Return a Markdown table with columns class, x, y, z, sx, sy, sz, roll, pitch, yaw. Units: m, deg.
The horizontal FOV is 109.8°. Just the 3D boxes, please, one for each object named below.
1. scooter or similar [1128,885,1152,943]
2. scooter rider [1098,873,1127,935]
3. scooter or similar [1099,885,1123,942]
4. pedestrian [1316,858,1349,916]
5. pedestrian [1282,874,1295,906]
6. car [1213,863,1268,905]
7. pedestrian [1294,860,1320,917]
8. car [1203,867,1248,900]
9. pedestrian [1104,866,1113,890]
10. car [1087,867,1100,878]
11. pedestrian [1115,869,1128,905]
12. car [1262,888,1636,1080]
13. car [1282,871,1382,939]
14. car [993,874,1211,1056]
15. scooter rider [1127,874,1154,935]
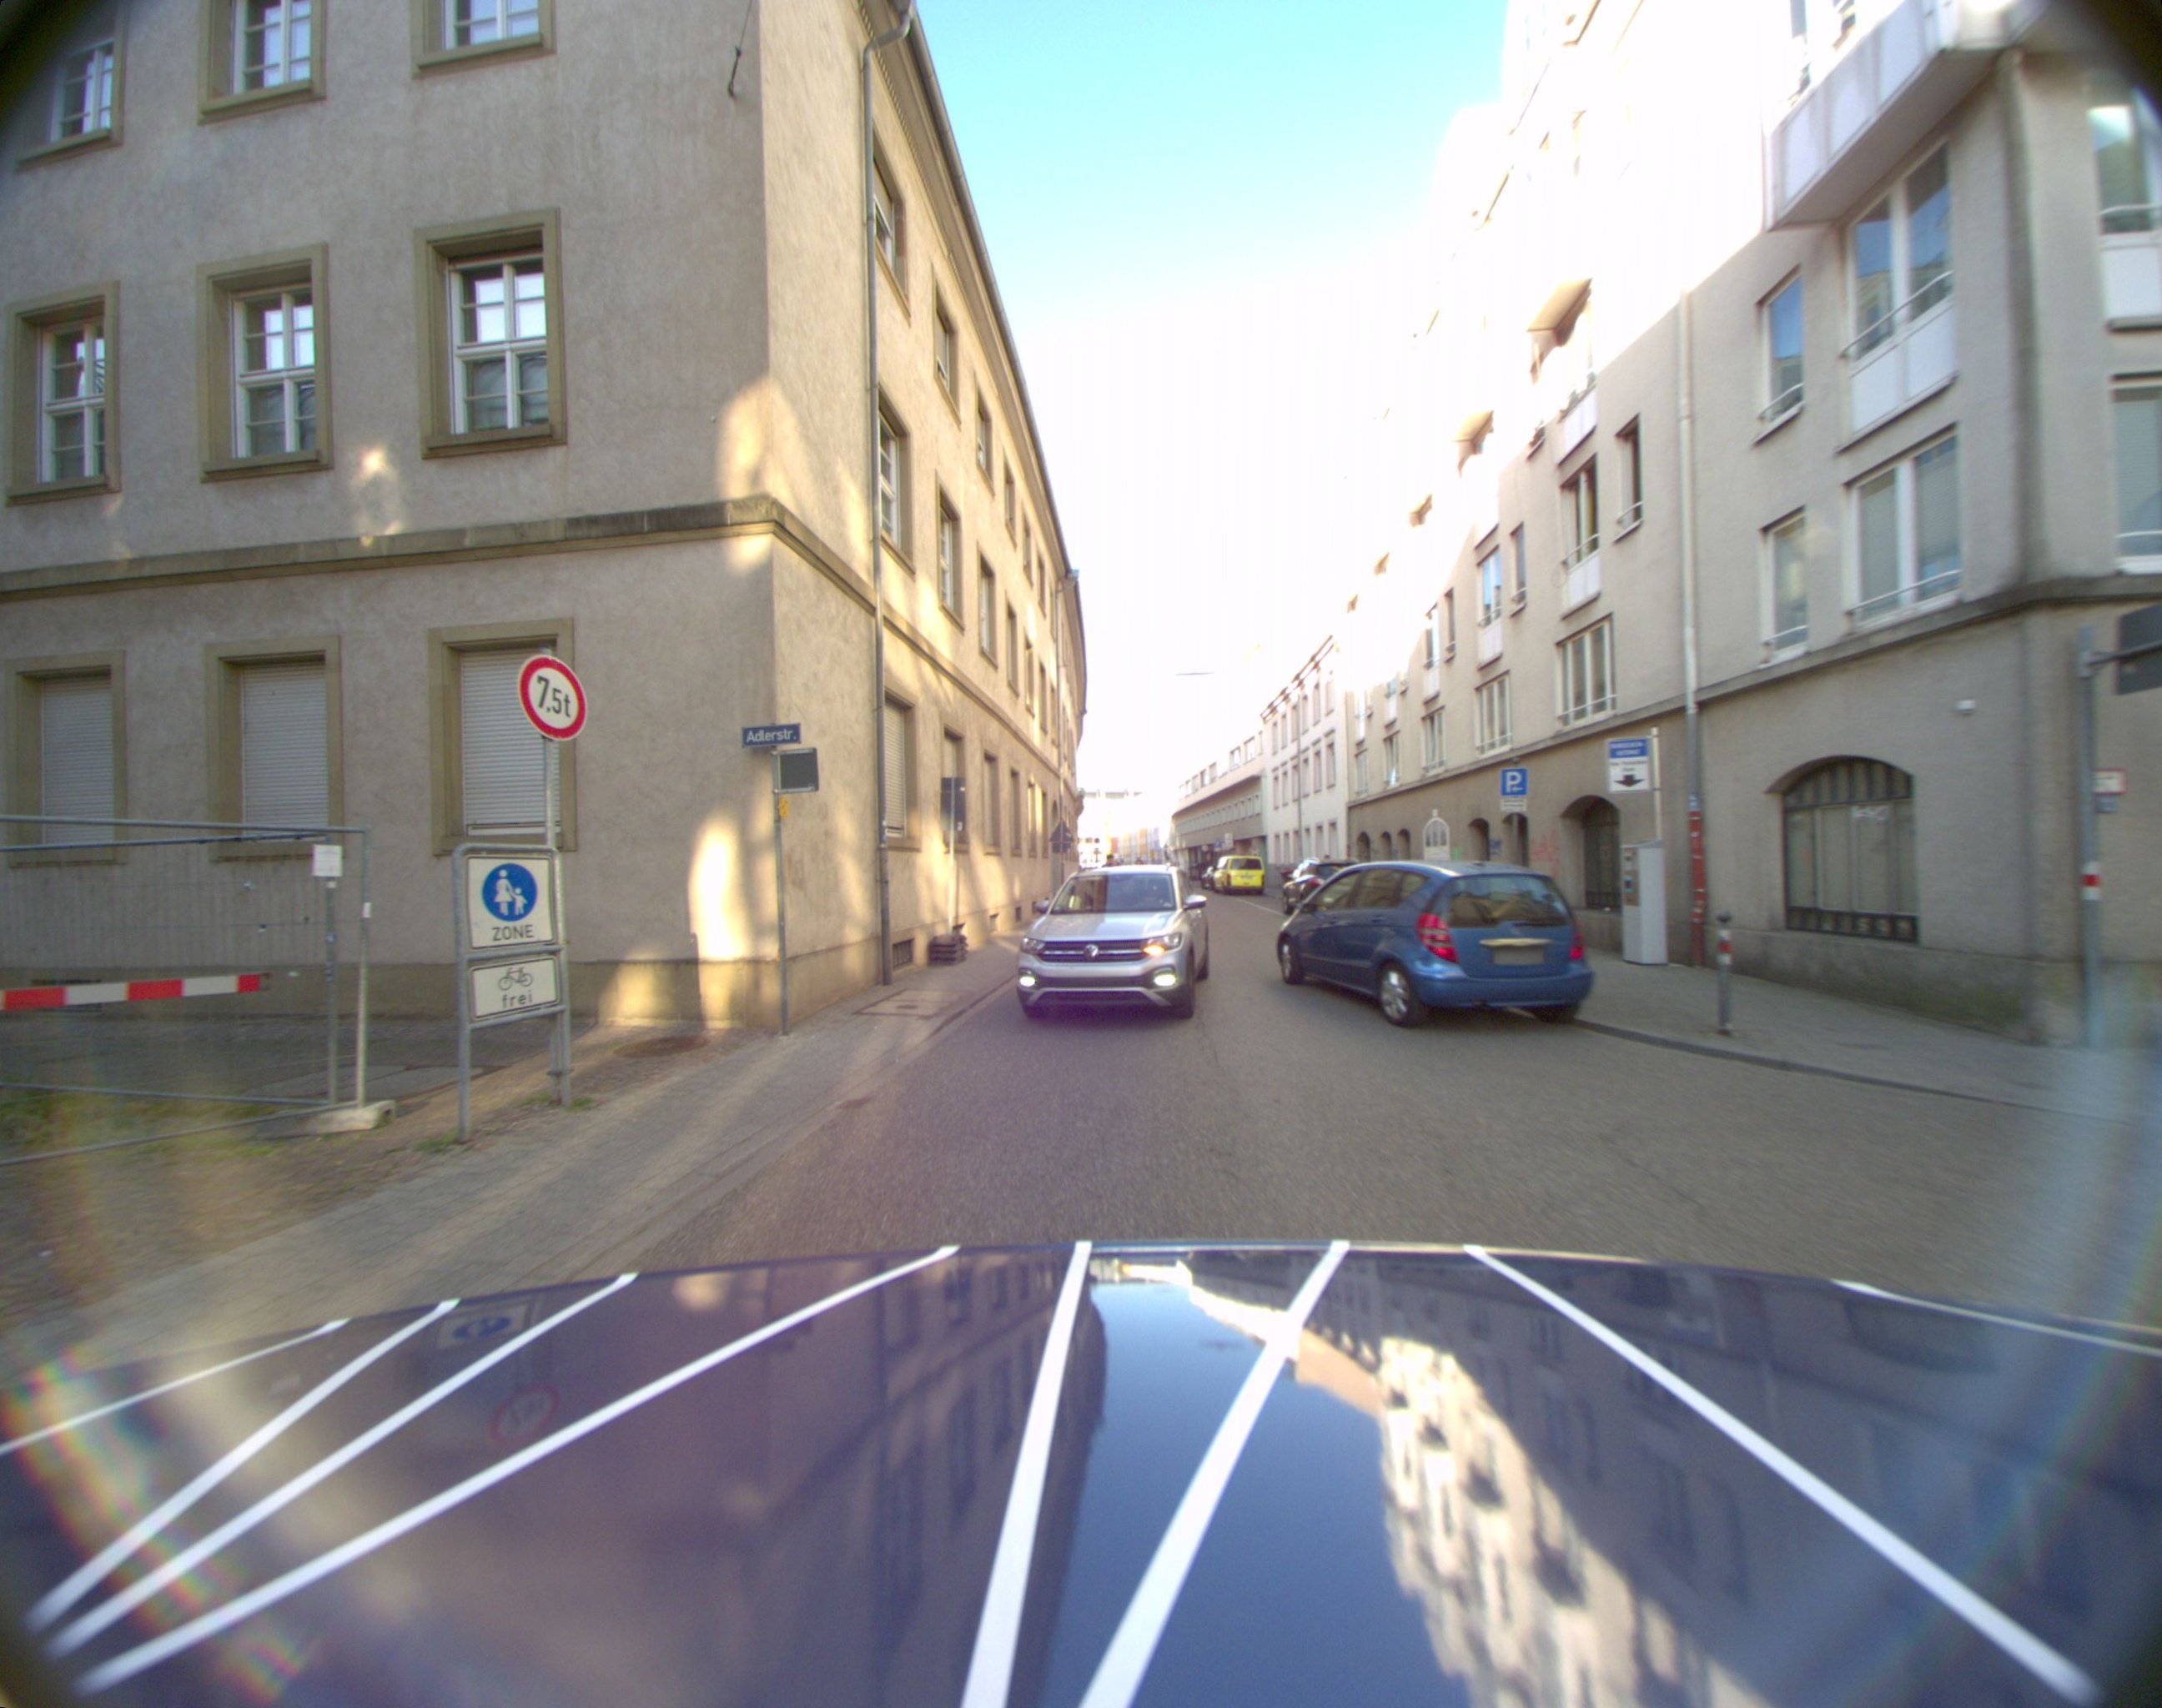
| class | x | y | z | sx | sy | sz | roll | pitch | yaw |
| --- | --- | --- | --- | --- | --- | --- | --- | --- | --- |
| scooter or similar | 1.521 | 1.521 | 19.509 | 0.550 | 1.388 | 1.556 | -1 | -1 | 5 |
| scooter rider | 0.845 | 1.317 | 20.304 | 0.647 | 1.584 | 0.600 | -4 | 0 | 5 |
| scooter or similar | 0.800 | 1.547 | 20.106 | 0.523 | 1.388 | 1.556 | -1 | -1 | 5 |
| pedestrian | 8.867 | 1.151 | 26.803 | 0.936 | 2.001 | 0.699 | -1 | -1 | 4 |
| pedestrian | 9.719 | 1.688 | 35.599 | 0.556 | 1.439 | 0.583 | -1 | -1 | 15 |
| car | 7.810 | 1.438 | 37.556 | 1.888 | 1.862 | 4.001 | -3 | -1 | 2 |
| pedestrian | 7.962 | 1.206 | 26.782 | 0.715 | 2.001 | 0.699 | -1 | -1 | 4 |
| car | 8.218 | 1.642 | 43.439 | 1.888 | 1.757 | 4.001 | 1 | -1 | 2 |
| pedestrian | 2.272 | 1.961 | 62.817 | 0.715 | 2.001 | 0.699 | -1 | -1 | 4 |
| car | 2.233 | 3.282 | 136.754 | 1.889 | 1.862 | 3.999 | 1 | -1 | -3 |
| pedestrian | 2.328 | 1.899 | 43.653 | 0.715 | 2.001 | 0.699 | -1 | -1 | 4 |
| car | 3.626 | 1.179 | 8.376 | 1.857 | 1.583 | 3.805 | 0 | -3 | -9 |
| car | 6.857 | 1.340 | 21.210 | 1.887 | 1.694 | 4.003 | 0 | -1 | 7 |
| car | 0.499 | 1.045 | 8.754 | 1.761 | 1.537 | 4.004 | -2 | -1 | 12 |
| scooter rider | 1.521 | 1.287 | 19.520 | 0.591 | 1.499 | 0.600 | -4 | 0 | 5 |
